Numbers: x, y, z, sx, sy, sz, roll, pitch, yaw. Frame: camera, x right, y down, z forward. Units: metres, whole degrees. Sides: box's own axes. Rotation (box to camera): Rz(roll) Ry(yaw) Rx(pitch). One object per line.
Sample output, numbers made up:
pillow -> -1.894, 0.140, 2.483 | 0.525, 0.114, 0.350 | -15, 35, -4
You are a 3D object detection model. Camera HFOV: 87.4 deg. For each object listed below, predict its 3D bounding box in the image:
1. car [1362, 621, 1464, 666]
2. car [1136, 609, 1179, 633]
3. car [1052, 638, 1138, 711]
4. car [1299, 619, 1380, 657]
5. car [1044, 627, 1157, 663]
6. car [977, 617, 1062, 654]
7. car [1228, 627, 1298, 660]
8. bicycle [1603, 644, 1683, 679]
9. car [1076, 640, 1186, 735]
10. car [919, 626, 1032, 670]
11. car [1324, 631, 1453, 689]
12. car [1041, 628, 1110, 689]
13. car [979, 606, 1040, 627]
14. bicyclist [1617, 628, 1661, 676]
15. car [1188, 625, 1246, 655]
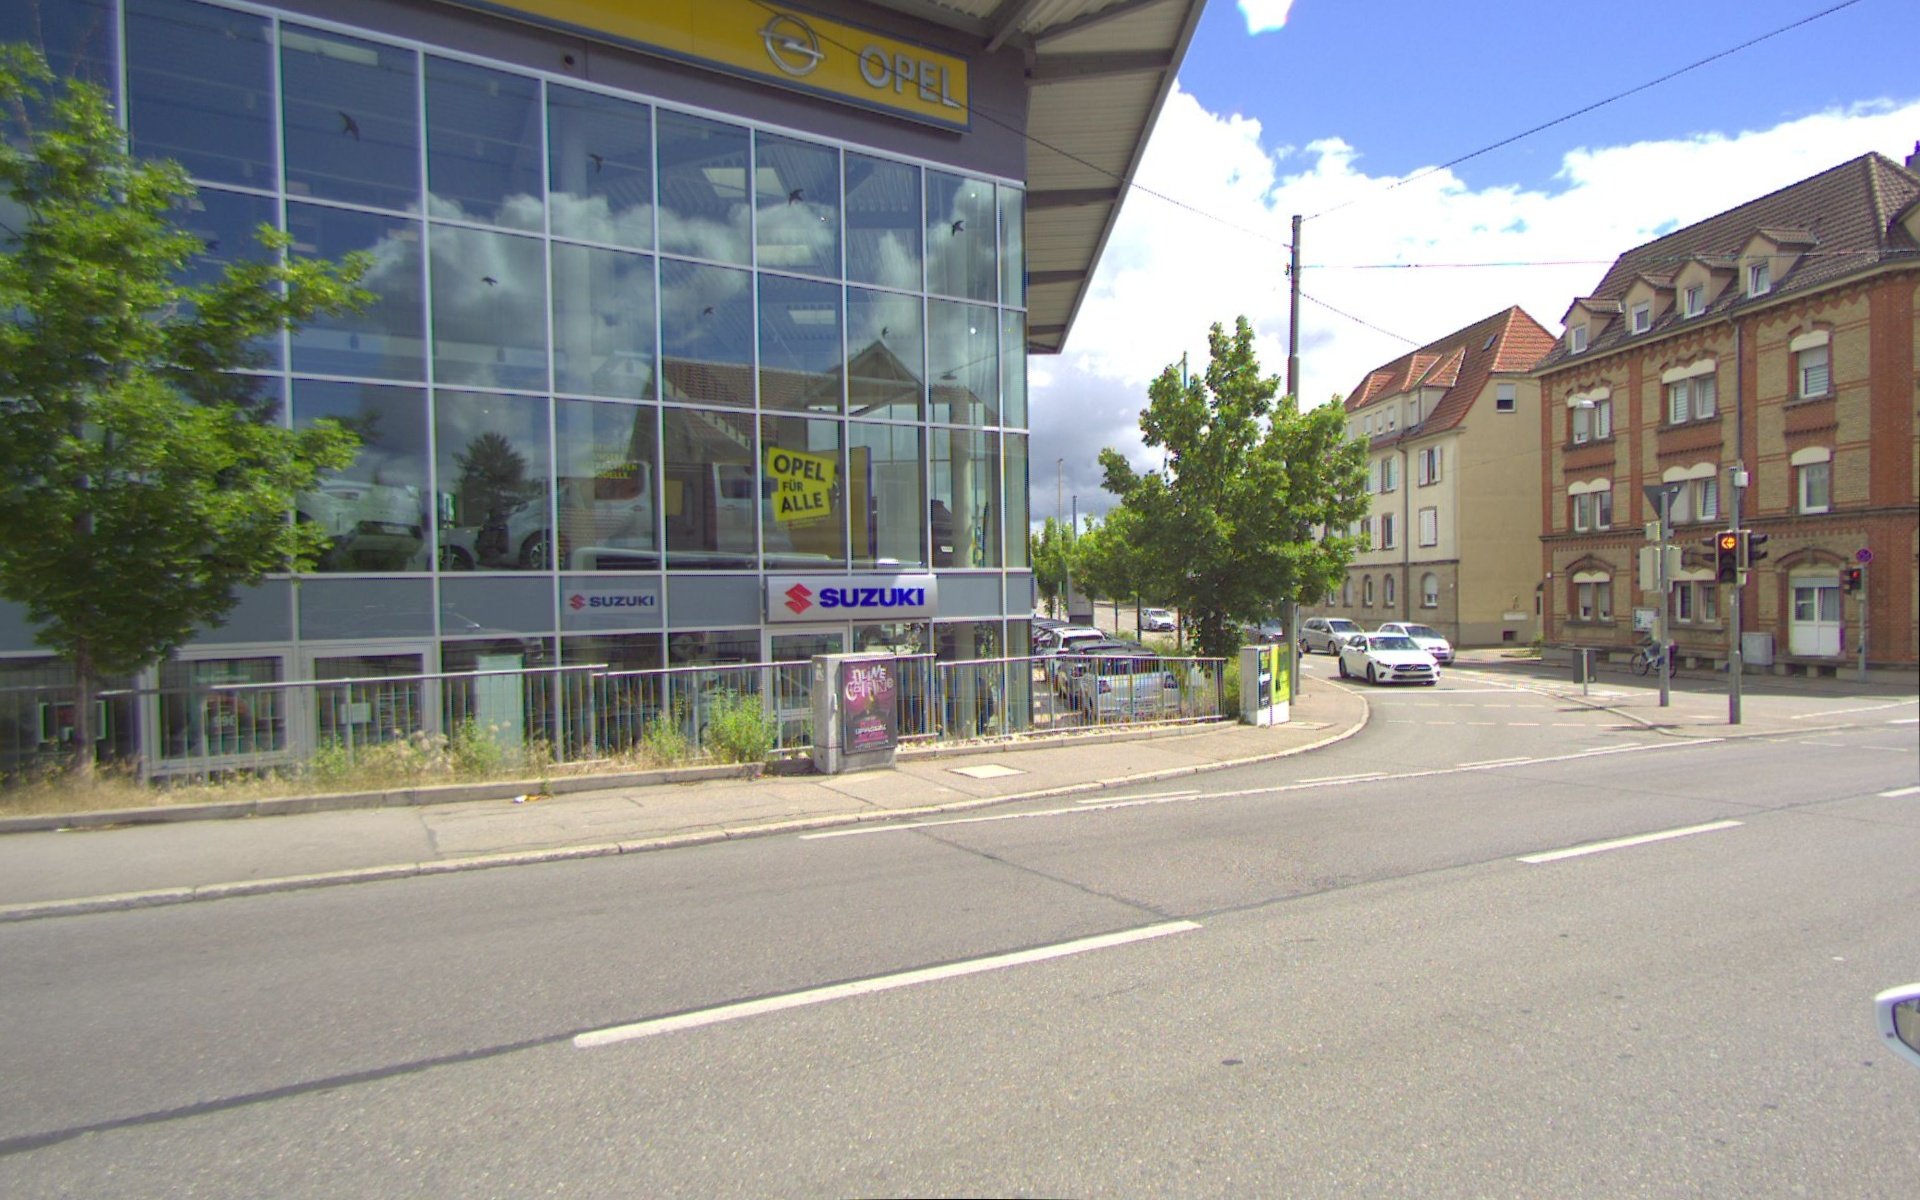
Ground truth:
car -> 17.065, 1.611, 38.081 | 1.670, 1.517, 3.995 | 1, -1, -7
car -> 13.806, 1.435, 70.515 | 1.961, 1.607, 4.345 | 1, 0, -2
car -> 3.233, 1.761, 24.692 | 1.487, 1.543, 3.792 | 1, -1, -2
car -> 16.738, 1.644, 44.506 | 1.715, 1.539, 3.996 | 1, -1, -7
car -> 5.168, 1.639, 37.203 | 3.921, 1.202, 1.818 | 1, -1, 0
car -> 2.650, 1.592, 45.861 | 1.974, 1.599, 4.476 | 1, -1, -26
car -> 15.335, 2.187, 51.013 | 1.963, 1.539, 3.996 | 1, -1, -7
bicycle -> 22.116, 1.976, 32.573 | 0.597, 1.033, 2.181 | 1, -1, -21
car -> 3.398, 1.695, 20.544 | 1.720, 1.596, 3.687 | 2, -1, 2
car -> 0.589, 1.742, 37.220 | 3.919, 1.478, 1.605 | 1, -1, 15
car -> 12.413, 1.691, 29.429 | 1.826, 1.466, 4.391 | -2, -1, -1
car -> 3.283, 1.640, 29.086 | 1.487, 1.596, 3.414 | 1, -1, -2
car -> 3.259, 1.085, 66.304 | 3.921, 1.311, 1.818 | 1, -1, 0
bicyclist -> 22.085, 1.670, 32.678 | 0.581, 1.519, 1.069 | 1, -1, -21
car -> 14.823, 2.284, 58.226 | 1.963, 1.664, 3.996 | 1, -1, -7
